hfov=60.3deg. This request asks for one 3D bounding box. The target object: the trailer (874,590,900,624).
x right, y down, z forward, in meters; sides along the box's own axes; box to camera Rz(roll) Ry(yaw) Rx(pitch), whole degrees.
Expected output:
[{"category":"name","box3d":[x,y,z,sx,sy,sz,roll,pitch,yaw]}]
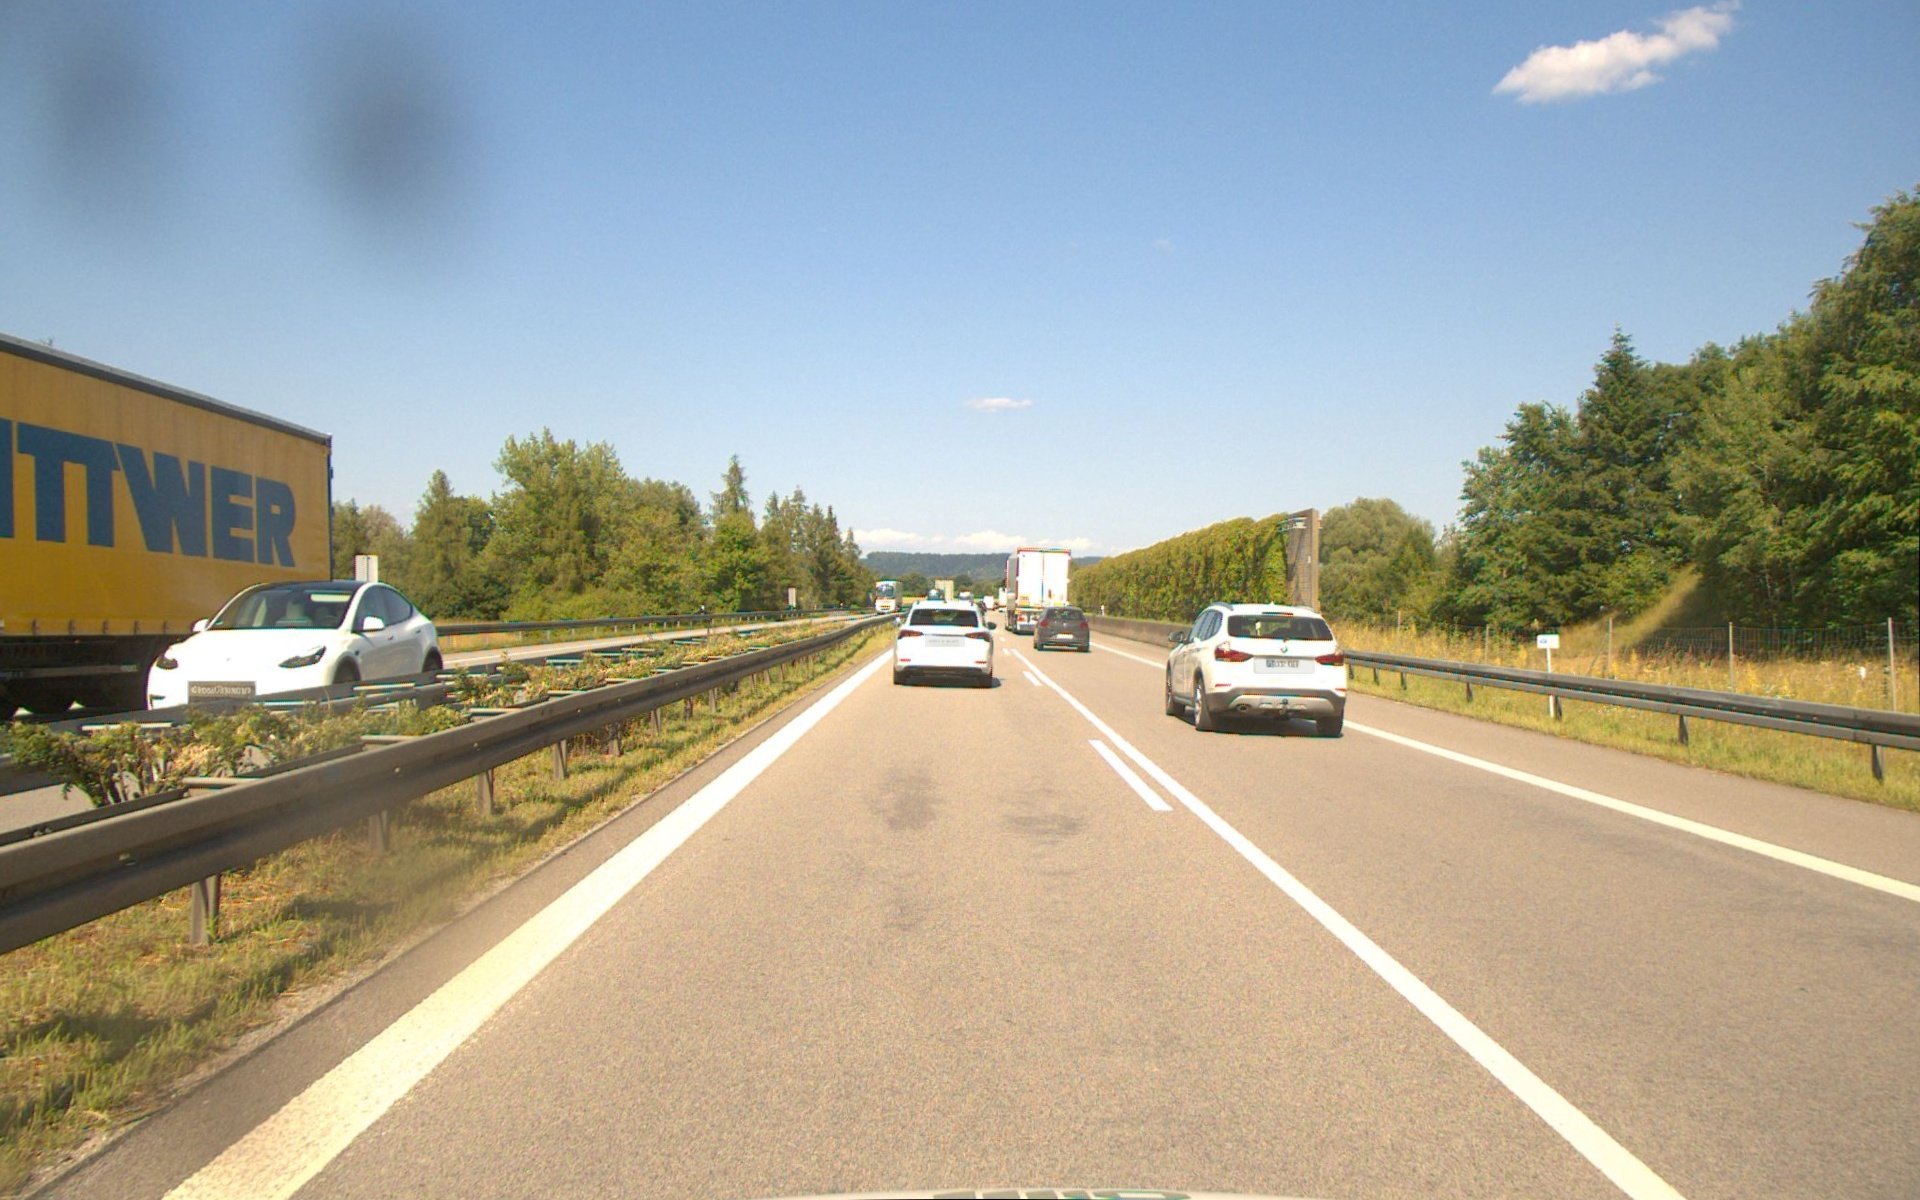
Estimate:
[{"category":"trailer","box3d":[-9.224,0.844,210.938,2.606,4.078,14.087,-1,0,0]}]

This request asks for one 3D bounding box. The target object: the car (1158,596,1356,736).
[{"category":"car","box3d":[3.719,0.754,21.541,1.650,1.522,4.987,2,1,0]}]

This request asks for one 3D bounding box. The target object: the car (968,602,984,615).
[{"category":"car","box3d":[1.825,0.967,190.300,1.735,1.446,4.494,2,0,-1]}]

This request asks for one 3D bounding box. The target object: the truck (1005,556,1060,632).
[{"category":"truck","box3d":[3.961,-0.310,91.782,2.782,4.036,7.044,0,0,0]}]

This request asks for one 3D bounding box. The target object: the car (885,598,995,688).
[{"category":"car","box3d":[-0.312,0.712,30.247,1.802,1.446,5.254,1,0,0]}]

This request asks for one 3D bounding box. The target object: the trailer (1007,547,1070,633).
[{"category":"trailer","box3d":[3.911,-0.458,85.039,2.760,4.036,14.161,0,0,1]}]

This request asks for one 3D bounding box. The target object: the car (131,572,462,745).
[{"category":"car","box3d":[-7.374,0.587,18.971,1.953,1.694,4.633,-1,0,-1]}]

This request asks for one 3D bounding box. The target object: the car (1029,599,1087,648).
[{"category":"car","box3d":[3.203,0.749,54.725,1.631,1.480,4.544,2,0,0]}]

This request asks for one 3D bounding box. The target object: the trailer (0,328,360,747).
[{"category":"trailer","box3d":[-11.104,-0.622,19.784,2.731,4.233,14.391,-1,0,-1]}]

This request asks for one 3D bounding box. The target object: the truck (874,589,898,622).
[{"category":"truck","box3d":[-9.289,0.671,207.517,2.589,4.078,7.193,-1,0,1]}]
